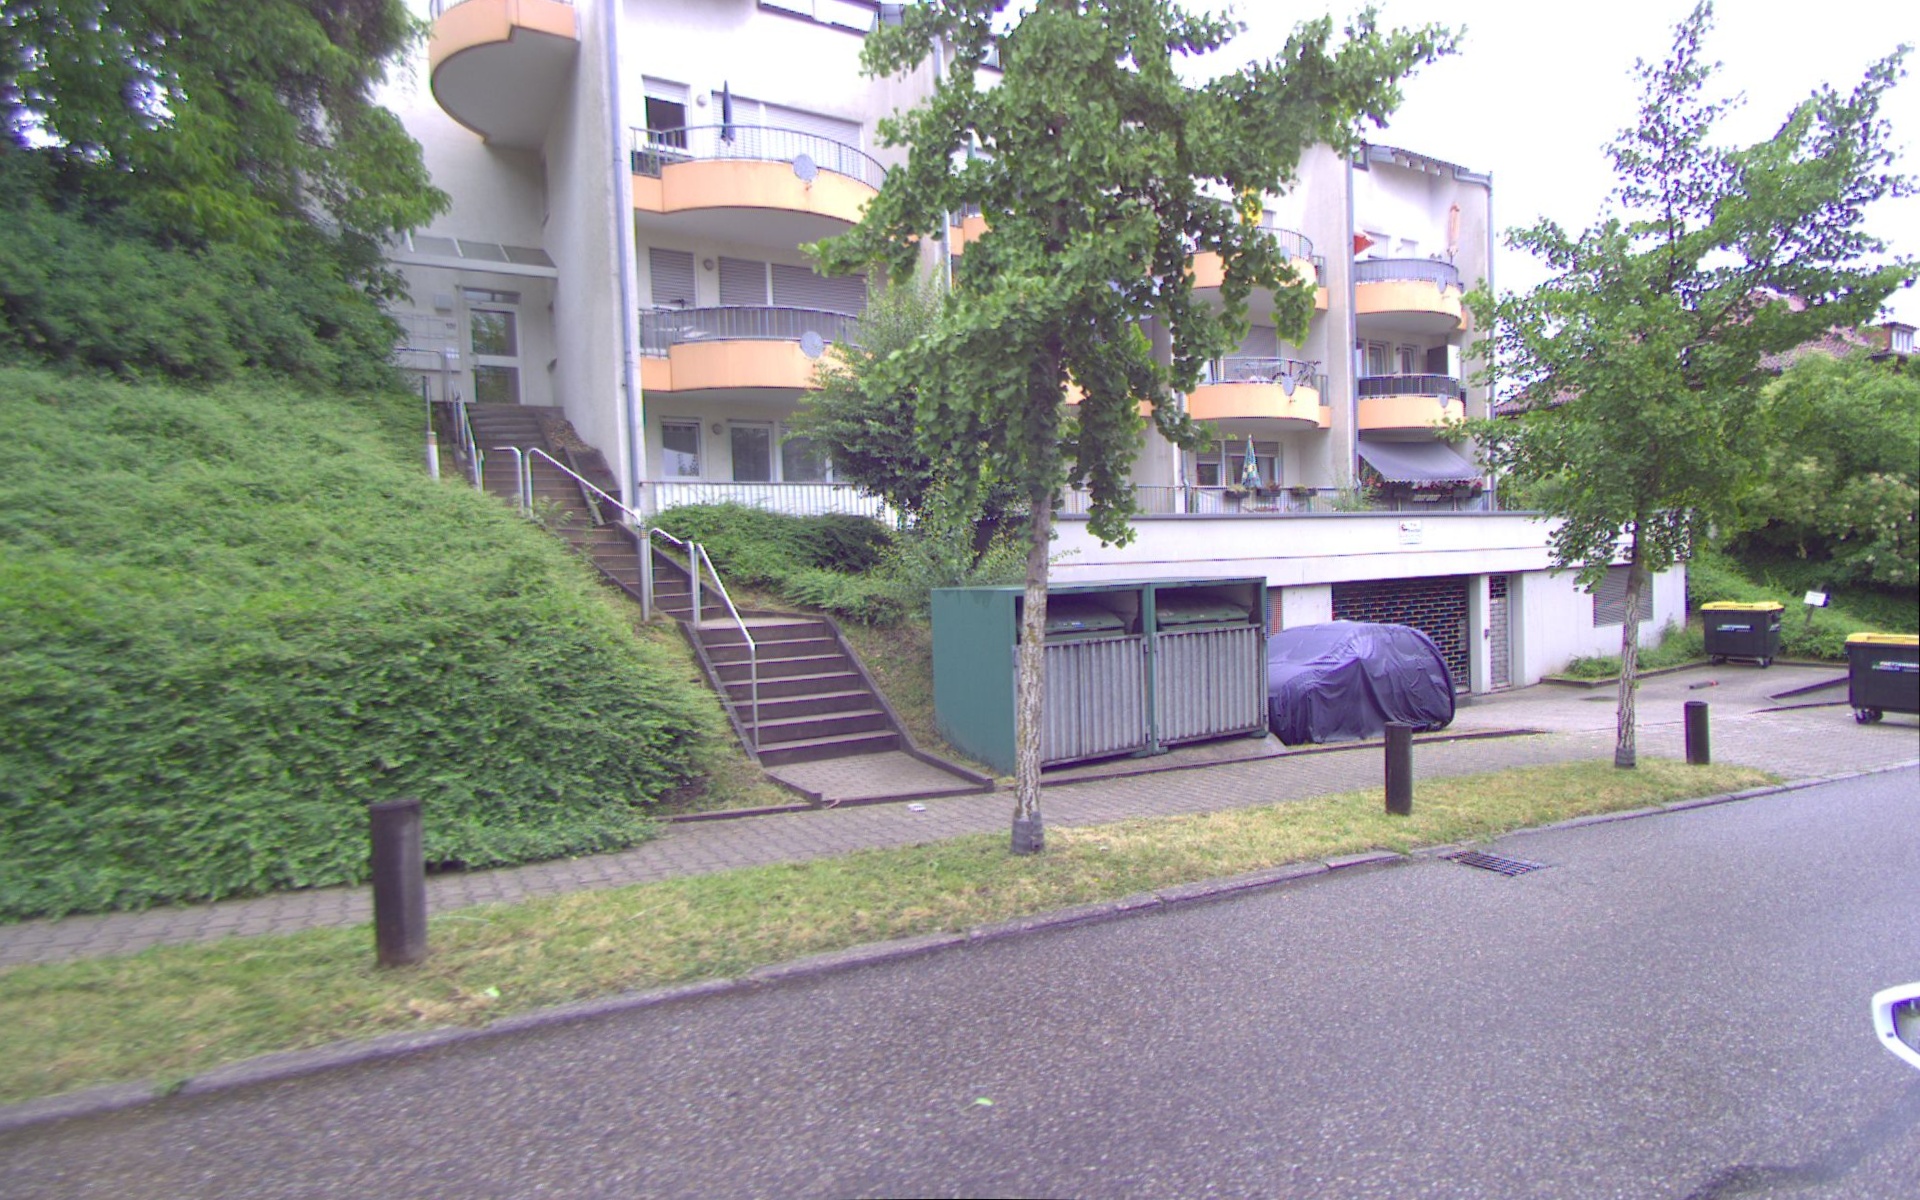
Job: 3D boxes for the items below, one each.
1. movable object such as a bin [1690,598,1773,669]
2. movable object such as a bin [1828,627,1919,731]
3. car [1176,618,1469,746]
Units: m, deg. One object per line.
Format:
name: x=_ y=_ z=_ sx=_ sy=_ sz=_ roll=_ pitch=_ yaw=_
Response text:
movable object such as a bin: x=16.165 y=0.669 z=21.066 sx=0.483 sy=1.406 sz=1.264 roll=-1 pitch=2 yaw=-32
movable object such as a bin: x=13.554 y=1.129 z=14.627 sx=0.483 sy=1.406 sz=1.264 roll=-1 pitch=2 yaw=-32
car: x=4.904 y=1.022 z=13.465 sx=3.843 sy=1.475 sz=1.732 roll=1 pitch=-3 yaw=-33
